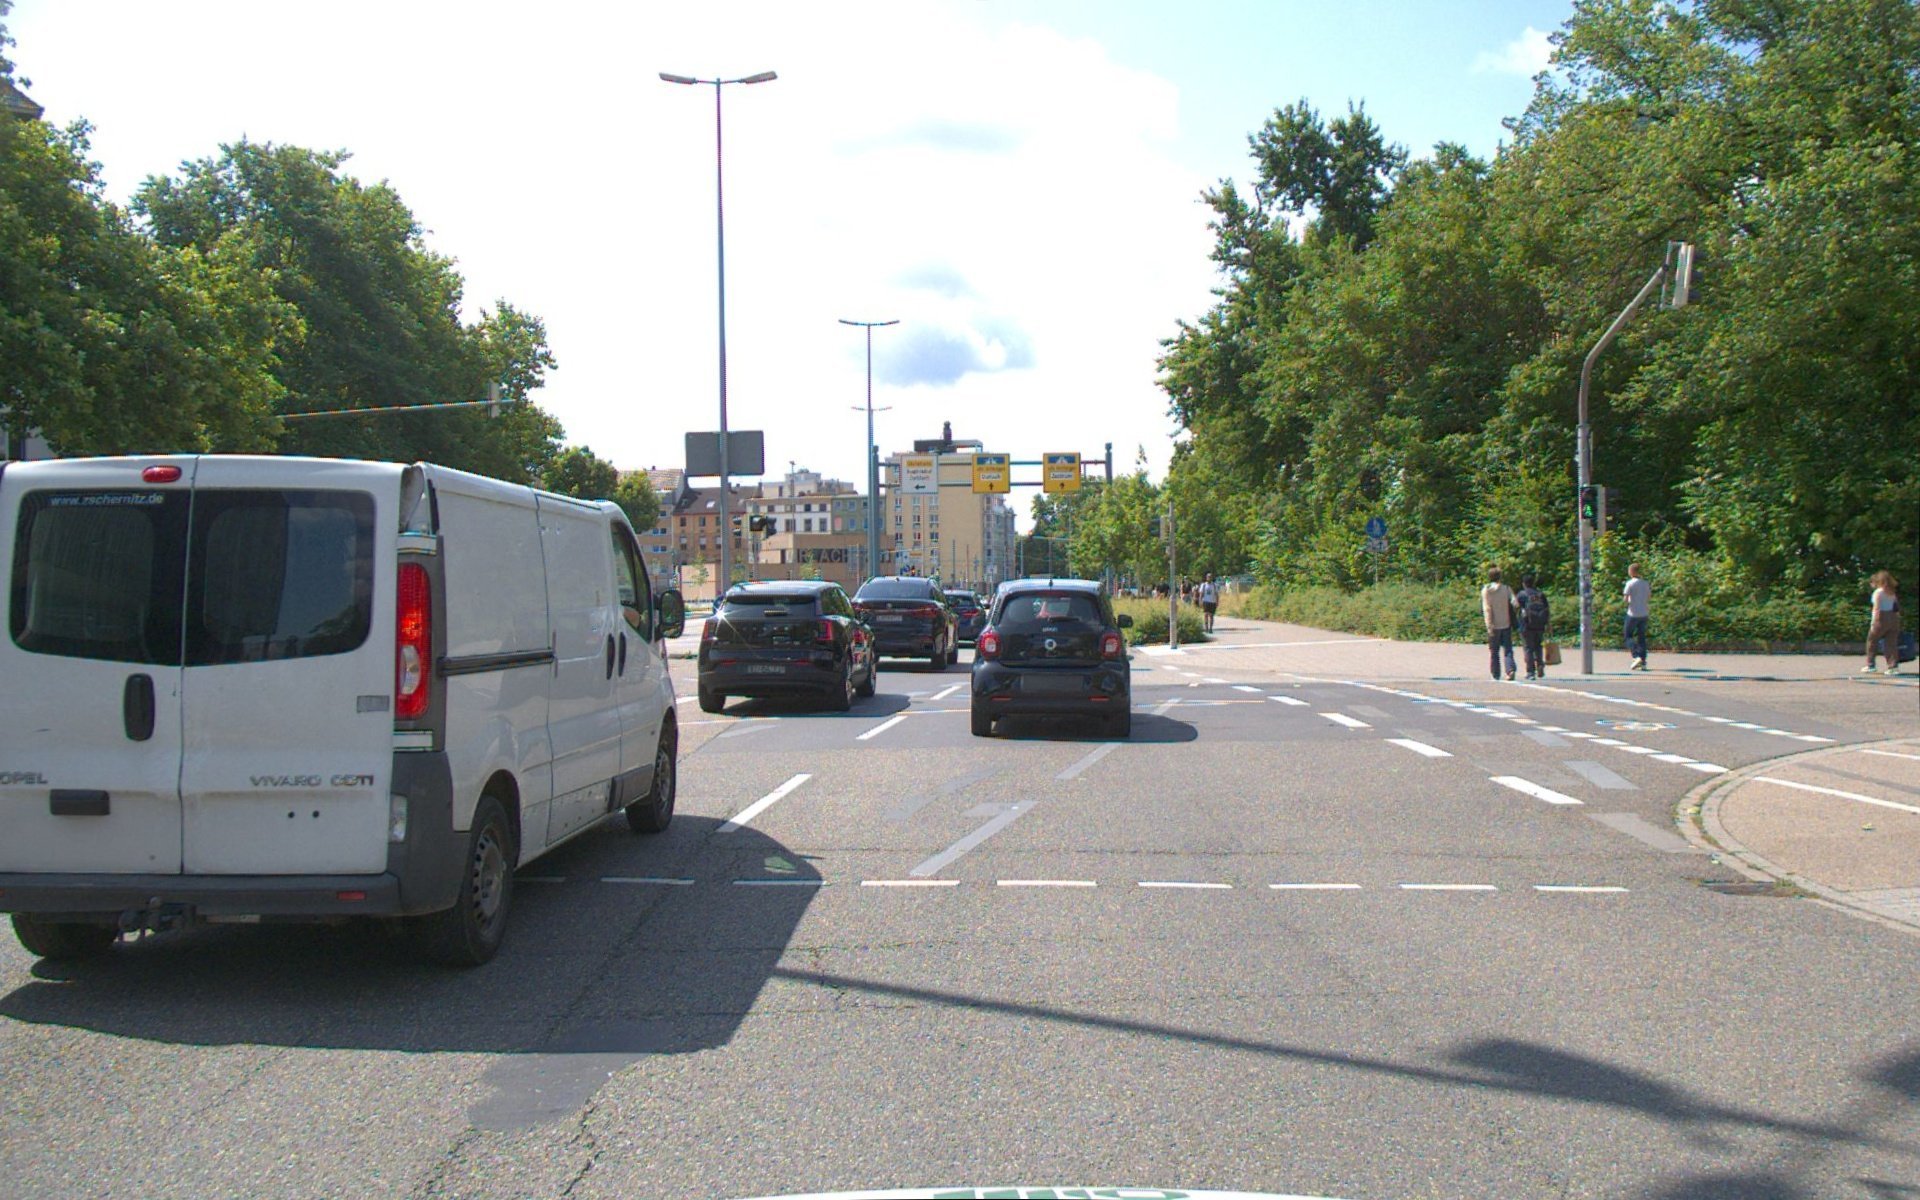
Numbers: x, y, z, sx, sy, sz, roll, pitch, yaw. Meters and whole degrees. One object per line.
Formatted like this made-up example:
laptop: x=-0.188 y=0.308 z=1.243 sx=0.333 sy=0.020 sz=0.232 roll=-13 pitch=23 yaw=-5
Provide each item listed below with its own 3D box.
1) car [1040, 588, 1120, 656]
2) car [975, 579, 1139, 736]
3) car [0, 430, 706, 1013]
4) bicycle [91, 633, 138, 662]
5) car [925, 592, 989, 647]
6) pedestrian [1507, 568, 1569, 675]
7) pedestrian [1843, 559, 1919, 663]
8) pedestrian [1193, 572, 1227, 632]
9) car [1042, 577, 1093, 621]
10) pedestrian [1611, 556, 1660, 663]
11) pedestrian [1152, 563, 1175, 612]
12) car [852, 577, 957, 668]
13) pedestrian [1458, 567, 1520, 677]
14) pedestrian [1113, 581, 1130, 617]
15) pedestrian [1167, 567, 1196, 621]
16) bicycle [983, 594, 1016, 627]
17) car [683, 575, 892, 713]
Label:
car: x=2.664 y=0.473 z=37.316 sx=1.578 sy=1.436 sz=3.517 roll=-1 pitch=0 yaw=1
car: x=0.967 y=0.543 z=17.741 sx=1.578 sy=1.511 sz=3.518 roll=0 pitch=0 yaw=1
car: x=-2.702 y=0.387 z=8.258 sx=1.965 sy=1.989 sz=5.195 roll=0 pitch=1 yaw=1
bicycle: x=-20.461 y=1.150 z=40.019 sx=0.992 sy=0.694 sz=0.405 roll=1 pitch=0 yaw=-27
car: x=-0.041 y=0.469 z=43.146 sx=1.578 sy=1.348 sz=3.518 roll=-1 pitch=0 yaw=1
pedestrian: x=9.577 y=0.337 z=27.428 sx=0.778 sy=1.734 sz=1.183 roll=0 pitch=1 yaw=9
pedestrian: x=15.376 y=0.164 z=27.378 sx=0.841 sy=1.654 sz=1.015 roll=-2 pitch=2 yaw=-18
pedestrian: x=7.442 y=0.055 z=49.208 sx=0.833 sy=1.730 sz=0.931 roll=-2 pitch=0 yaw=1
car: x=3.720 y=-0.051 z=57.555 sx=1.578 sy=1.436 sz=3.518 roll=1 pitch=0 yaw=1
pedestrian: x=11.823 y=0.153 z=28.957 sx=0.656 sy=1.852 sz=0.704 roll=0 pitch=1 yaw=9
pedestrian: x=8.300 y=-0.513 z=67.486 sx=0.821 sy=2.003 sz=0.861 roll=-1 pitch=0 yaw=-1
car: x=-0.996 y=0.388 z=31.876 sx=1.789 sy=1.629 sz=4.394 roll=0 pitch=0 yaw=1
pedestrian: x=8.510 y=0.334 z=26.667 sx=0.778 sy=1.734 sz=1.183 roll=0 pitch=1 yaw=9
pedestrian: x=9.255 y=-0.064 z=94.800 sx=0.821 sy=2.003 sz=0.861 roll=-1 pitch=0 yaw=-1
pedestrian: x=7.798 y=-0.214 z=58.266 sx=0.821 sy=1.901 sz=1.019 roll=-1 pitch=0 yaw=-1
bicycle: x=2.517 y=0.639 z=106.162 sx=1.953 sy=2.049 sz=3.999 roll=1 pitch=0 yaw=-1
car: x=-2.091 y=0.469 z=21.482 sx=1.975 sy=1.556 sz=4.889 roll=1 pitch=1 yaw=2
